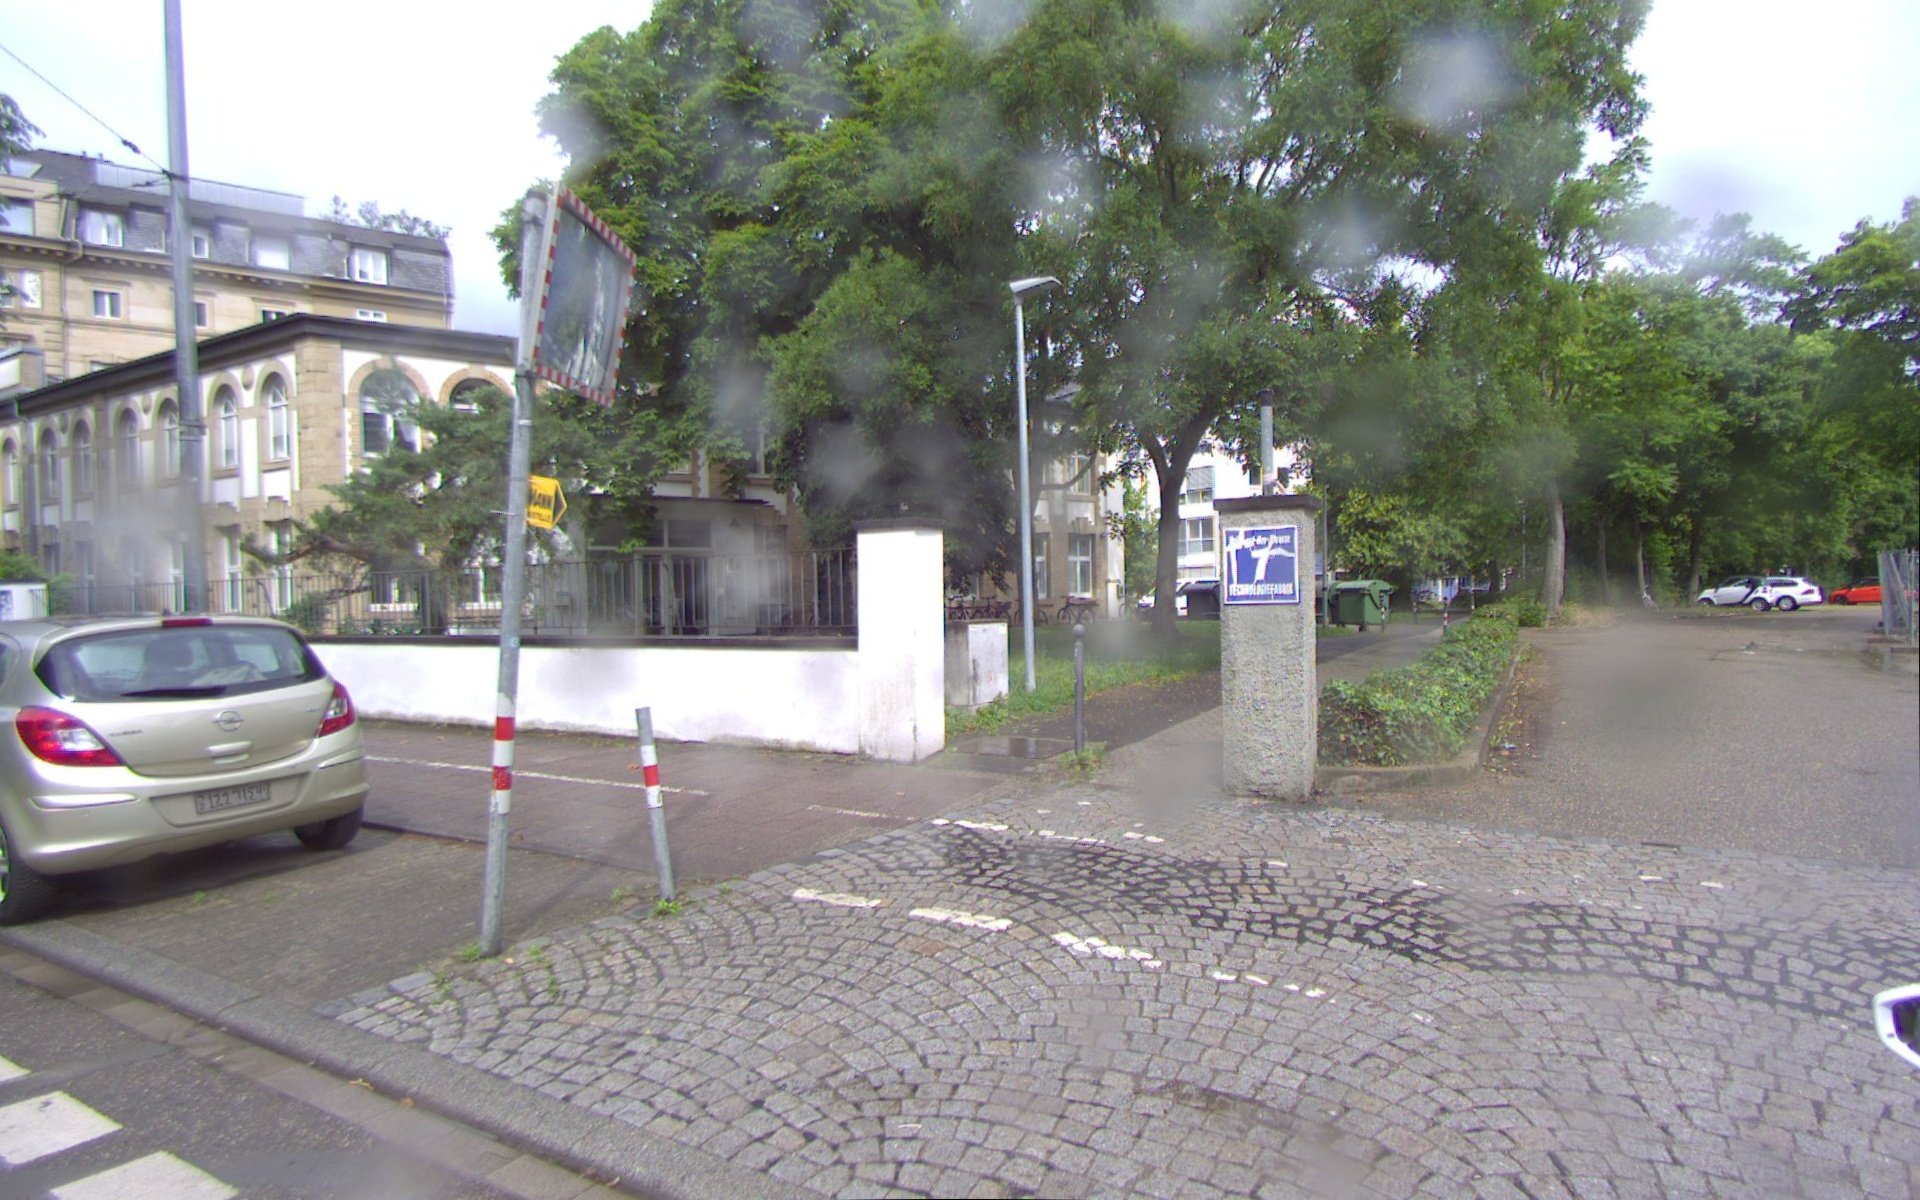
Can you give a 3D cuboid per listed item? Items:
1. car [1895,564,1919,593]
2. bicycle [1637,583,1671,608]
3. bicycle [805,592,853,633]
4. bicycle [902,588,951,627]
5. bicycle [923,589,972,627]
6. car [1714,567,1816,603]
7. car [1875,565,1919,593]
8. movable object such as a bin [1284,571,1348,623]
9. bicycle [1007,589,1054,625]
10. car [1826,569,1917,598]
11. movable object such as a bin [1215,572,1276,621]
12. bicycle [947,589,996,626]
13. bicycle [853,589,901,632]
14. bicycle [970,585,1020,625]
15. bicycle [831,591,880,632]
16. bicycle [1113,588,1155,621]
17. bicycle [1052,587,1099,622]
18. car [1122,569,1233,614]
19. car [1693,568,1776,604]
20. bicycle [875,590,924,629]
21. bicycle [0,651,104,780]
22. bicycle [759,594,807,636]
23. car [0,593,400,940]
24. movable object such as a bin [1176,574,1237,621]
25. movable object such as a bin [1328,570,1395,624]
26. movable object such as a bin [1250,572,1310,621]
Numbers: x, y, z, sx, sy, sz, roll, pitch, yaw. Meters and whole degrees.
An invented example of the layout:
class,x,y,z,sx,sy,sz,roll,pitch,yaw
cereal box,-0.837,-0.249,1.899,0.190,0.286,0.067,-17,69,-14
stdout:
class,x,y,z,sx,sy,sz,roll,pitch,yaw
car,57.454,-1.243,58.567,1.829,1.673,4.077,-3,3,-37
bicycle,25.231,-0.173,36.525,1.439,0.872,0.473,-3,3,-32
bicycle,-3.796,0.367,28.997,0.610,1.131,1.910,-3,1,-32
bicycle,-1.059,0.236,31.118,0.610,1.131,1.910,-3,1,-32
bicycle,-0.413,0.243,31.446,0.610,1.131,1.910,-3,1,-32
car,36.306,-0.672,45.338,1.728,1.488,3.398,-3,2,-44
car,54.797,-1.186,56.963,1.972,1.516,3.964,-3,3,-32
movable object such as a bin,10.627,-0.100,29.980,1.158,1.503,1.387,-1,2,-39
bicycle,2.320,0.242,33.356,0.610,1.131,1.772,-3,1,-32
car,48.725,-0.904,53.758,1.573,1.444,3.268,-2,3,-29
movable object such as a bin,9.233,-0.108,32.512,1.157,1.503,1.481,-3,1,-37
bicycle,0.344,0.244,32.028,0.610,1.131,1.910,-3,1,-32
bicycle,-2.491,0.293,30.035,0.610,1.193,1.909,-2,2,-32
bicycle,1.113,0.158,32.525,0.610,1.241,1.910,-3,1,-32
bicycle,-3.104,0.342,29.711,0.610,1.131,1.910,-3,1,-32
bicycle,6.231,0.173,35.993,0.610,1.131,1.507,-3,1,-32
bicycle,3.958,0.163,34.455,0.610,1.131,1.772,-3,1,-32
car,9.953,-0.363,45.856,4.832,1.951,2.082,0,-1,-31
car,34.185,-0.595,44.353,1.582,1.504,2.726,-3,2,-44
bicycle,-1.854,0.297,30.517,0.610,1.131,1.910,-3,1,-32
bicycle,-8.583,1.049,8.462,0.672,1.000,1.924,1,4,28
bicycle,-4.981,0.417,28.205,0.610,1.131,1.910,-3,1,-32
car,-5.387,0.764,6.139,3.765,1.479,1.686,-1,2,30
movable object such as a bin,8.284,-0.086,33.762,1.157,1.503,1.577,-3,1,-37
movable object such as a bin,11.479,-0.083,28.770,1.088,1.493,1.478,0,0,-22
movable object such as a bin,9.933,-0.121,31.219,1.157,1.503,1.388,-1,1,-37
